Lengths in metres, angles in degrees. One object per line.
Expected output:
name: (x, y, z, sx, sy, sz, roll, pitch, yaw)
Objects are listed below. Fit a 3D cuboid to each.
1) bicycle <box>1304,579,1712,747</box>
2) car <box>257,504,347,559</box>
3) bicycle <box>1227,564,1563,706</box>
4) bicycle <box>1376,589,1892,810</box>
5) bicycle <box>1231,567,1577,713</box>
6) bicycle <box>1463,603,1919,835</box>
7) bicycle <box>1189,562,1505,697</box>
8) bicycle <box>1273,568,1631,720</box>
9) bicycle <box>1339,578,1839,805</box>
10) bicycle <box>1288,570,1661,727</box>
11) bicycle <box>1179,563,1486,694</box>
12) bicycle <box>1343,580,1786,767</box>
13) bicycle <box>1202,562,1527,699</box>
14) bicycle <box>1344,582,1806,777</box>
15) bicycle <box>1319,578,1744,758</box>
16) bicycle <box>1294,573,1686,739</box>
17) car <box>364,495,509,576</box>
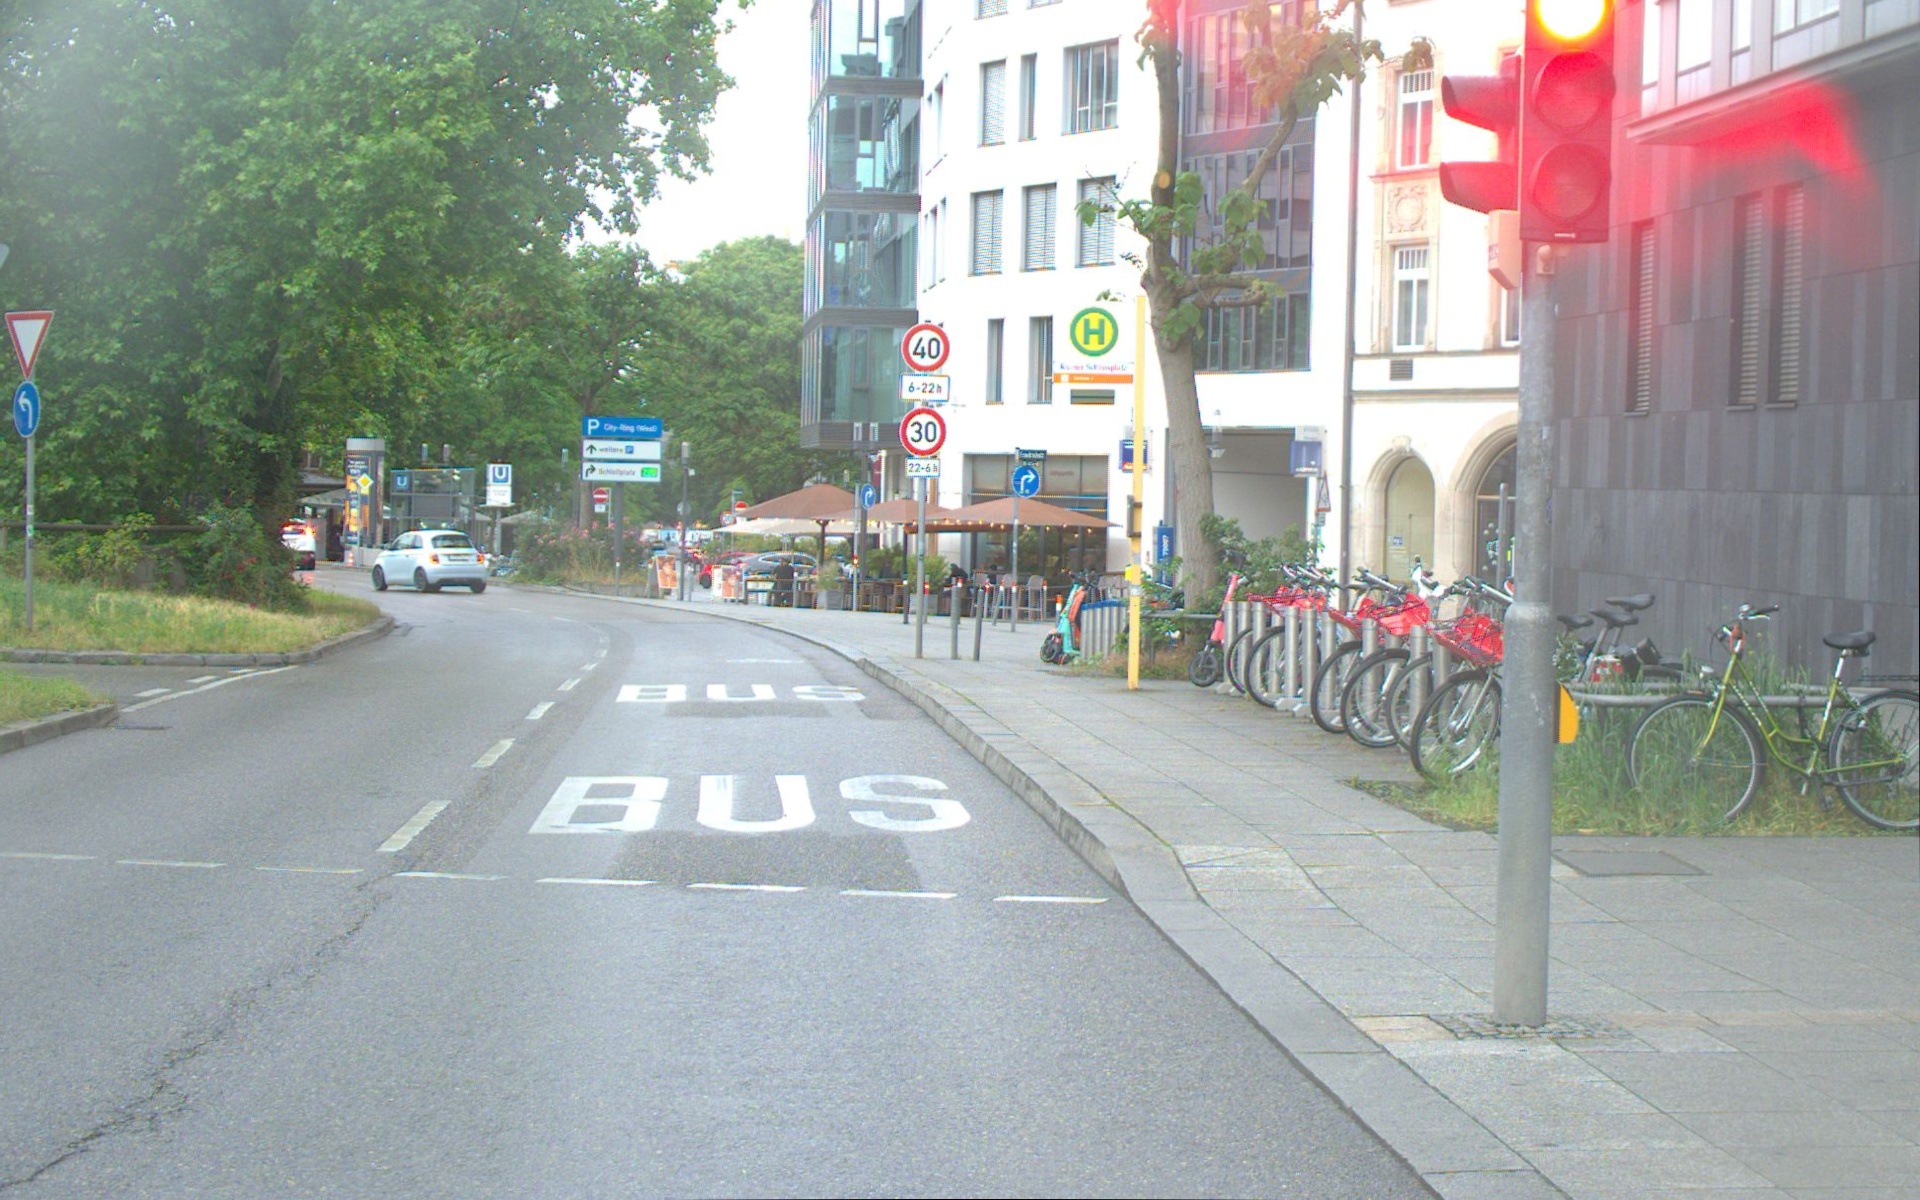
bicycle: (3.575, 0.407, 22.501, 2.535, 1.056, 0.677, 1, 1, -5)
car: (-21.339, -2.230, 111.422, 2.178, 1.695, 4.001, 1, 1, -21)
bicycle: (3.425, 0.273, 27.176, 2.535, 1.083, 0.677, 1, 1, -5)
bicycle: (3.499, 0.513, 17.941, 2.535, 1.083, 0.677, 1, 1, -5)
bicycle: (3.398, 0.302, 26.424, 2.535, 1.083, 0.677, 1, 1, -5)
bicycle: (3.743, 0.564, 16.465, 2.535, 1.053, 0.677, 1, 1, -5)
bicycle: (3.234, 0.243, 28.812, 2.535, 1.083, 0.677, 1, 1, -5)
bicycle: (3.649, 0.322, 25.585, 2.535, 1.083, 0.677, 1, 1, -5)
bicycle: (3.412, 0.490, 18.745, 2.535, 1.083, 0.677, 3, 1, -5)
bicycle: (3.671, 0.341, 24.606, 2.535, 1.083, 0.677, 1, 1, -5)
bicycle: (3.189, 0.238, 29.534, 2.535, 1.083, 0.627, 1, 1, -5)
bicycle: (3.646, 0.440, 20.825, 2.535, 1.083, 0.677, 1, 1, -5)
bicycle: (3.290, 0.245, 28.064, 2.535, 1.083, 0.677, 1, 1, -5)
bicycle: (3.557, 0.454, 19.970, 2.535, 1.083, 0.677, 1, 1, -5)
bicycle: (3.579, 0.420, 21.635, 2.535, 1.083, 0.677, 1, 1, -5)
bicycle: (3.593, 0.376, 23.410, 2.535, 1.083, 0.677, 1, 1, -5)
car: (-12.914, -1.603, 84.675, 1.993, 1.641, 4.001, 5, 1, -32)
